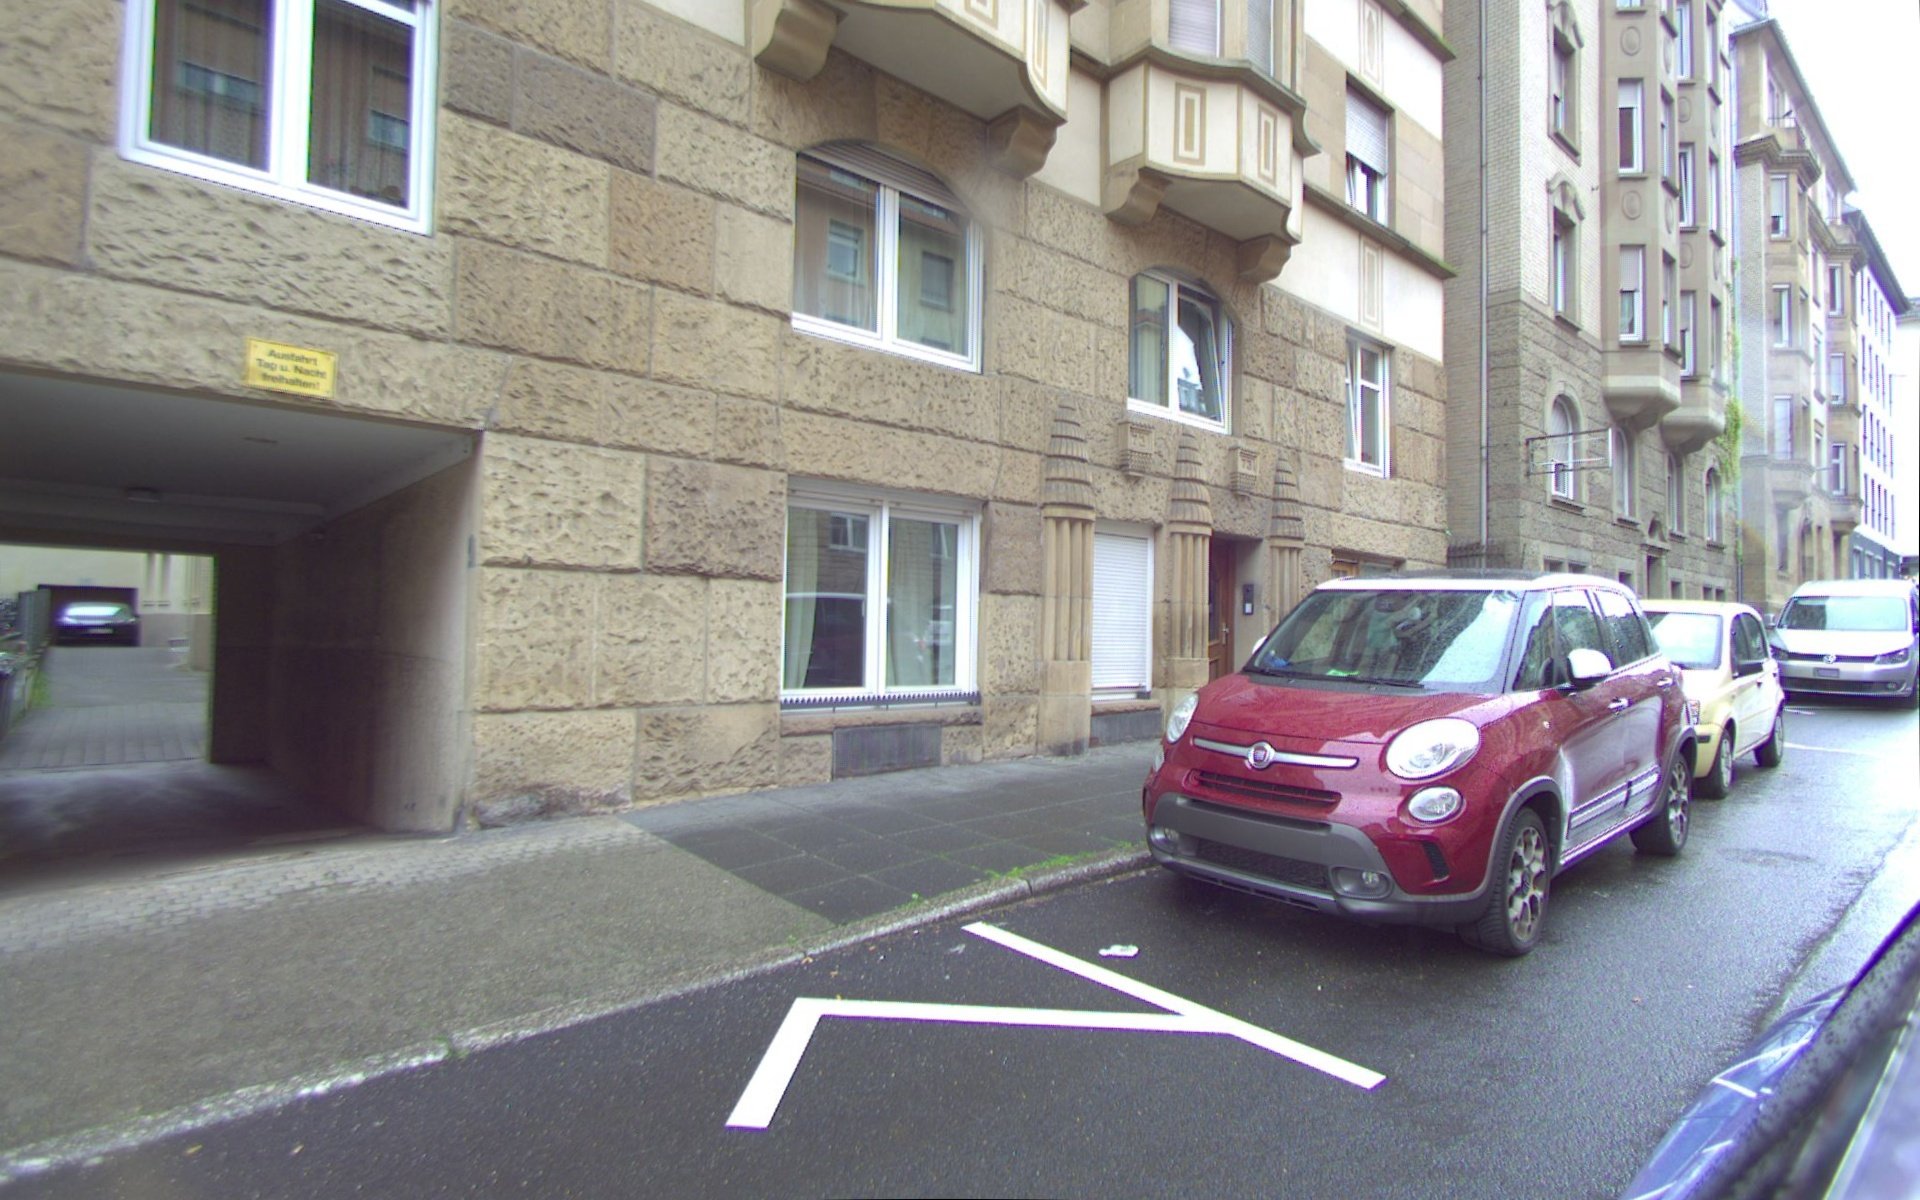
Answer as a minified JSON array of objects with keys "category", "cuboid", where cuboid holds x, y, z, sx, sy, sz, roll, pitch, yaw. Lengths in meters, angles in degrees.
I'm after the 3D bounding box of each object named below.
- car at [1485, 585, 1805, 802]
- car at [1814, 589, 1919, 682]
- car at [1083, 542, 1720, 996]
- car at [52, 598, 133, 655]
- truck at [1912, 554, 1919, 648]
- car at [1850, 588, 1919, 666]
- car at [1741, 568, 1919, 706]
[{"category":"car","cuboid":[6.178,0.669,8.986,3.517,1.549,1.578,0,-1,-43]},{"category":"car","cuboid":[17.148,0.593,18.496,3.934,1.549,1.994,0,-1,-45]},{"category":"car","cuboid":[2.657,0.605,5.624,3.932,1.619,1.804,0,-1,-42]},{"category":"car","cuboid":[-25.209,0.725,29.447,1.692,1.541,4.098,0,-1,-41]},{"category":"truck","cuboid":[29.139,0.016,28.875,6.036,2.568,2.234,0,-1,-41]},{"category":"car","cuboid":[20.454,0.540,21.436,3.860,1.549,1.889,0,-1,-41]},{"category":"car","cuboid":[13.741,0.493,15.505,4.380,1.825,1.966,0,-1,-41]}]
